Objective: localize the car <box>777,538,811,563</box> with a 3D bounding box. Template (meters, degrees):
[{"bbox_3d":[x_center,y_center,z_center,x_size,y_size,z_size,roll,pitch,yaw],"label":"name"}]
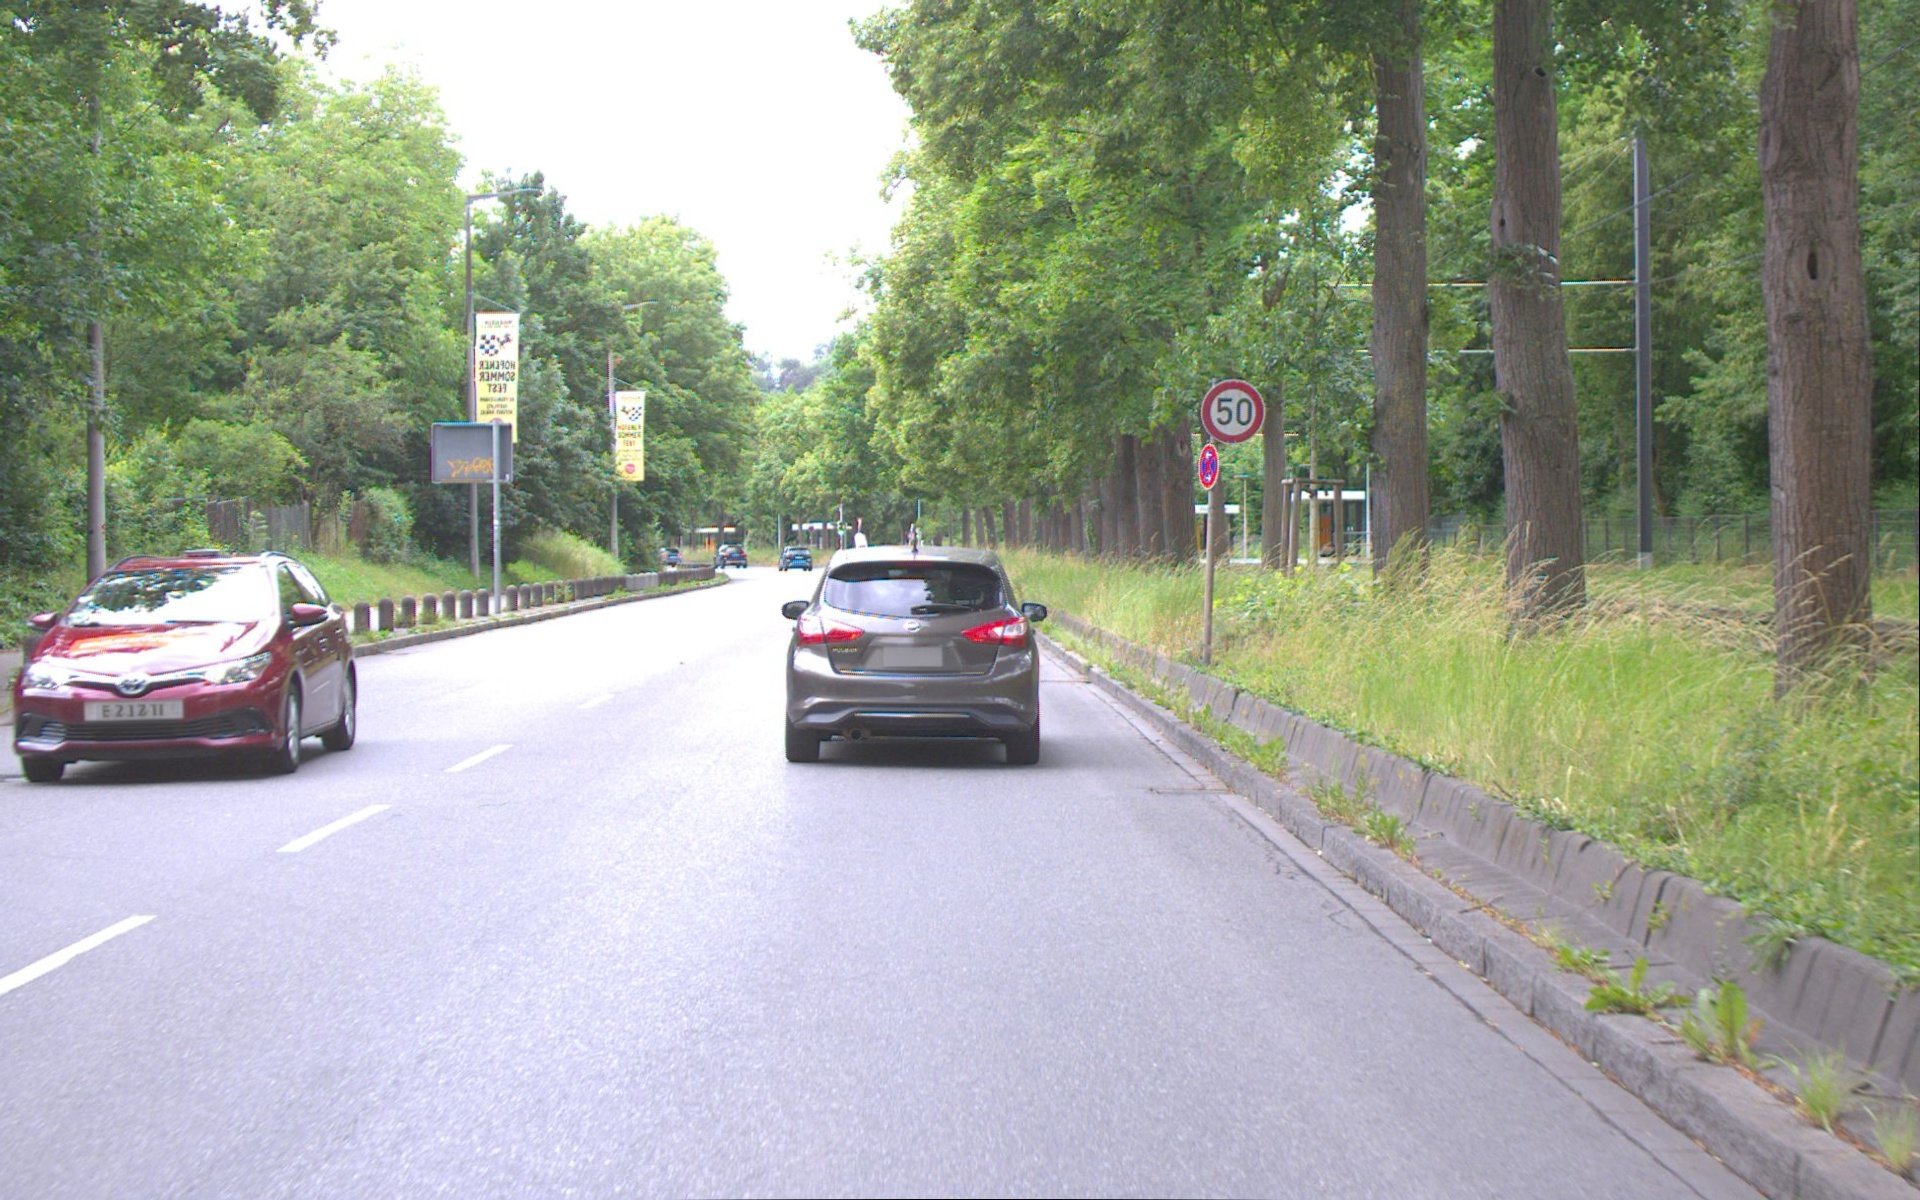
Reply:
[{"bbox_3d":[-10.239,-3.063,211.952,1.561,1.436,3.553,1,1,-11],"label":"car"}]

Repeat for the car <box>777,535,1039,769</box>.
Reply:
[{"bbox_3d":[-0.392,0.317,24.834,1.730,1.532,3.552,1,1,-1],"label":"car"}]

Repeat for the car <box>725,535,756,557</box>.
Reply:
[{"bbox_3d":[-15.566,-3.830,243.375,1.561,1.436,3.553,1,1,-13],"label":"car"}]

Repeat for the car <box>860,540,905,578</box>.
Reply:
[{"bbox_3d":[-3.052,-1.628,135.285,1.561,1.436,3.552,1,1,-4],"label":"car"}]

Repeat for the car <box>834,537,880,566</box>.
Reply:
[{"bbox_3d":[-5.283,-2.504,175.939,1.561,1.436,3.553,1,1,-15],"label":"car"}]

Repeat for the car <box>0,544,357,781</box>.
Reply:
[{"bbox_3d":[-5.227,0.353,23.475,1.716,1.423,4.197,-2,1,-4],"label":"car"}]
